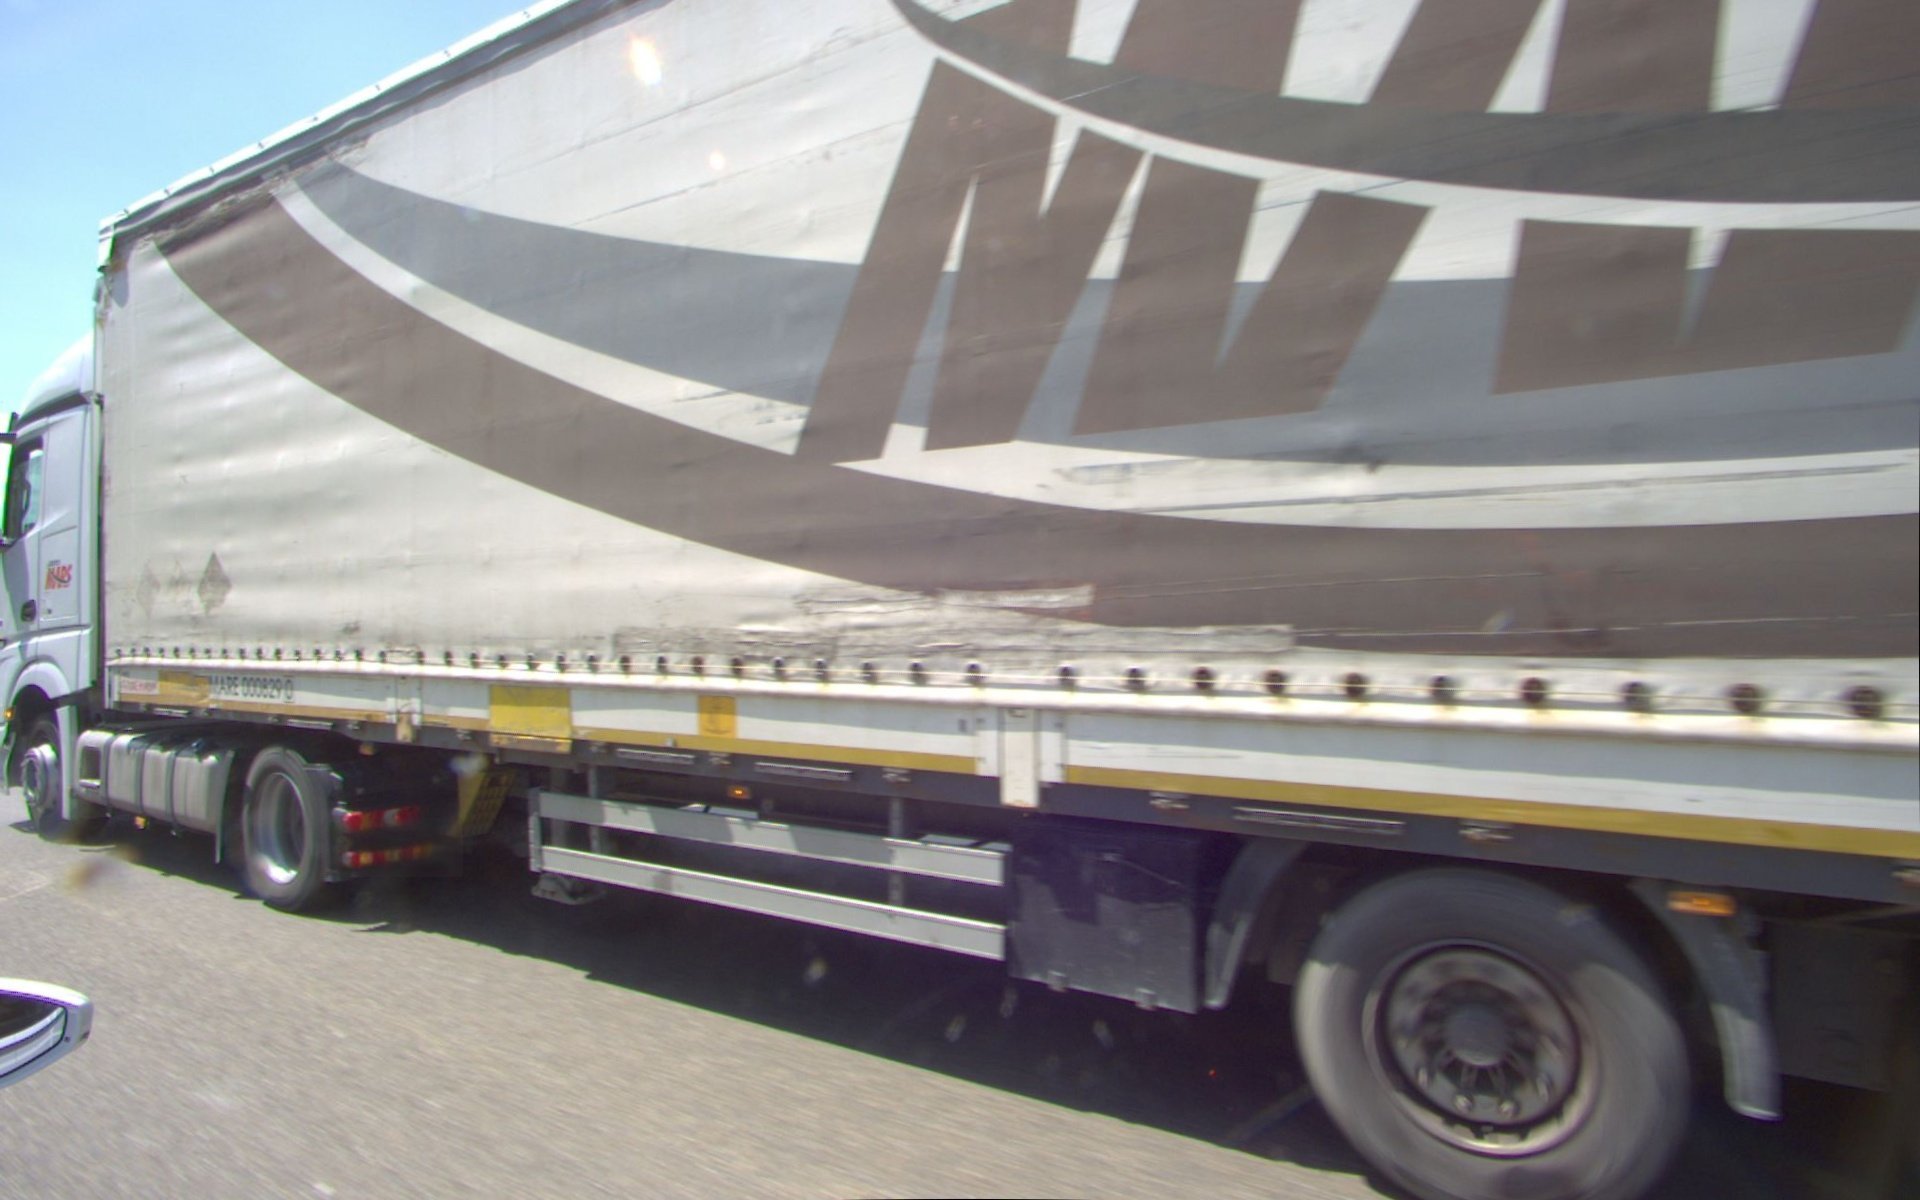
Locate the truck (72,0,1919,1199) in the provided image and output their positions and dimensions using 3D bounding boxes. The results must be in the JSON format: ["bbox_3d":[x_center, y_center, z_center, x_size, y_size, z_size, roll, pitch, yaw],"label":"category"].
[{"bbox_3d":[0.924,-0.571,4.030,13.539,4.120,2.722,-2,-1,31],"label":"truck"}]

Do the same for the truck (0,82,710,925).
[{"bbox_3d":[-4.944,-0.380,7.522,5.670,4.120,2.715,-2,-1,31],"label":"truck"}]
